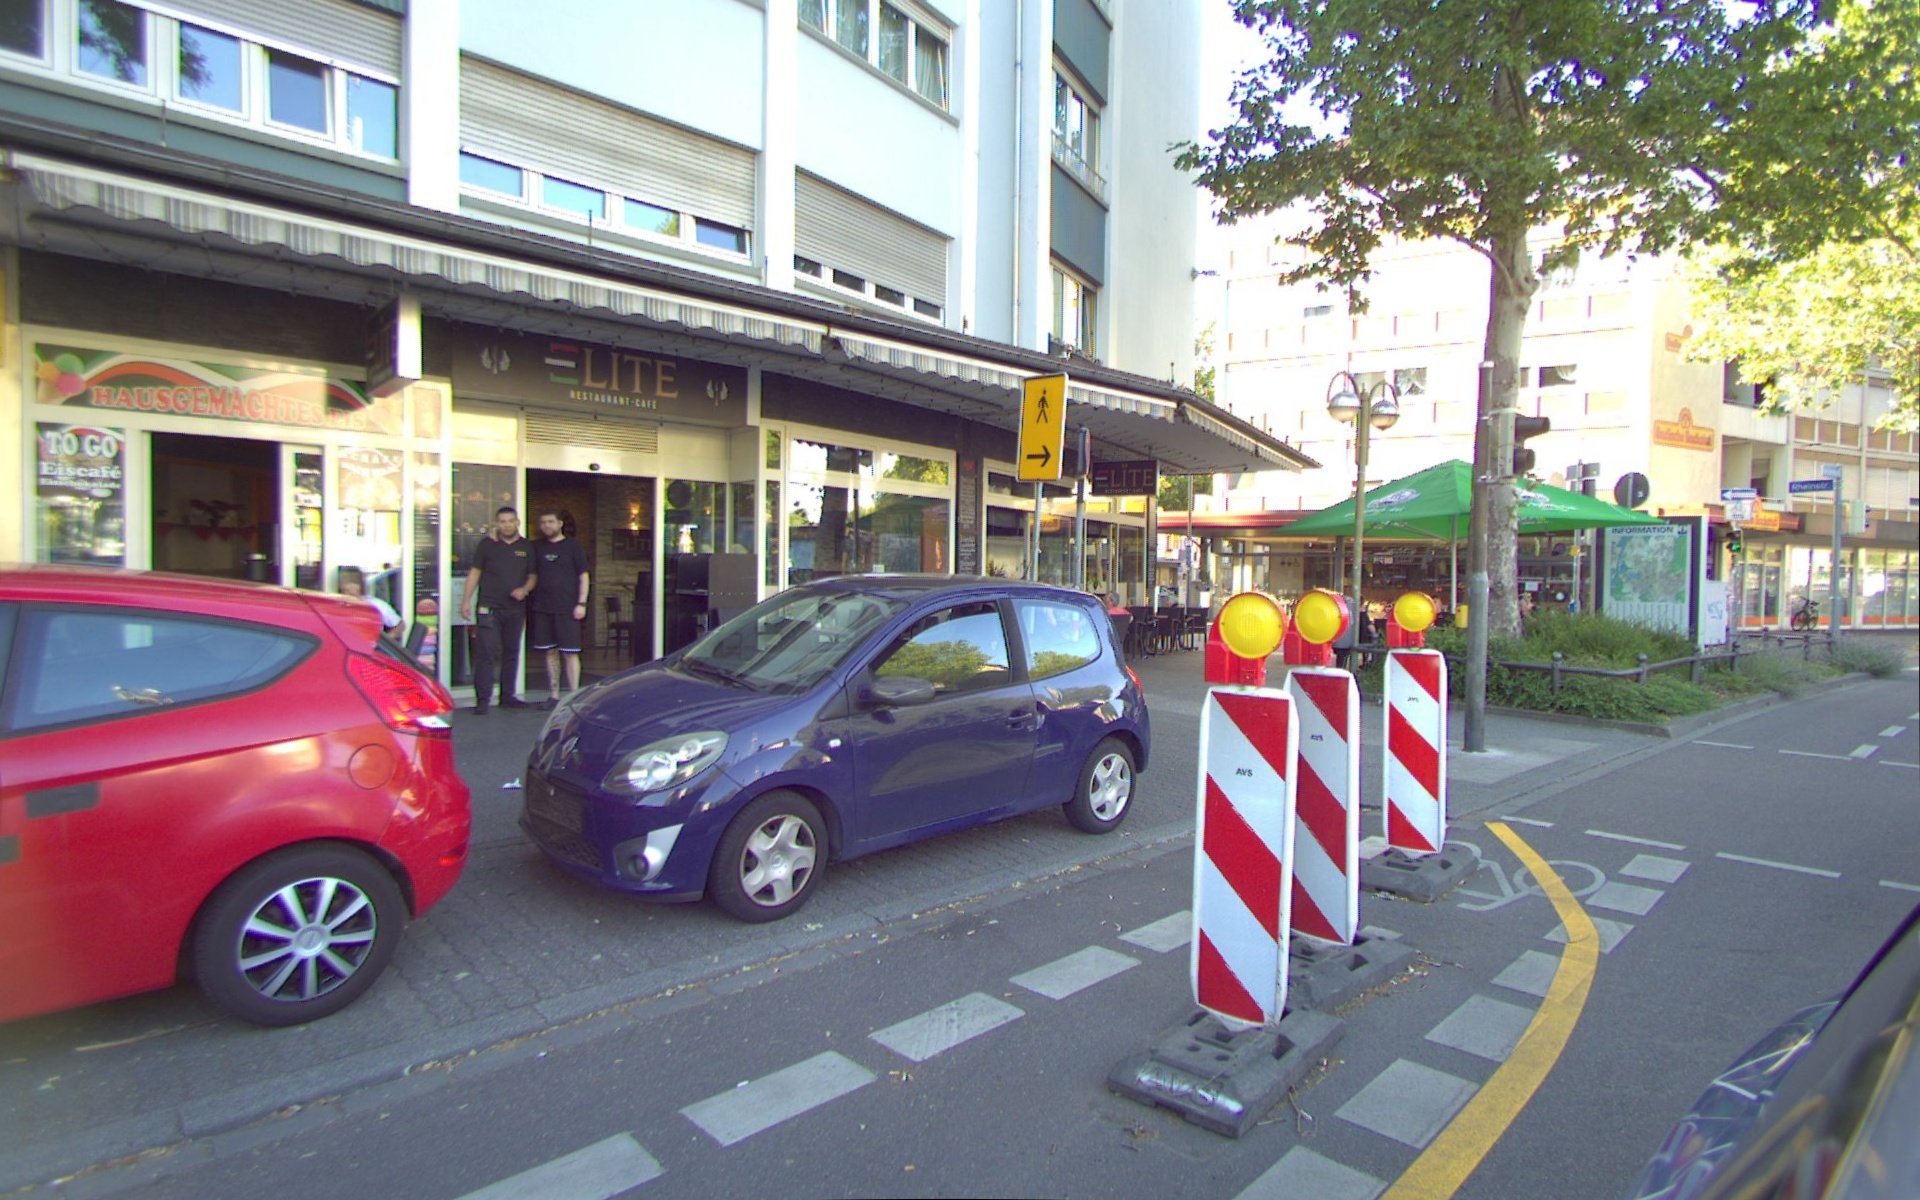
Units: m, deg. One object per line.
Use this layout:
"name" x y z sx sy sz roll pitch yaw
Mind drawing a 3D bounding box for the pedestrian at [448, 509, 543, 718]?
"pedestrian" -4.105 0.098 8.928 0.587 1.756 0.589 1 3 -39

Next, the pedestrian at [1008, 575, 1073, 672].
"pedestrian" 1.108 0.305 13.850 0.644 1.267 0.711 3 1 25

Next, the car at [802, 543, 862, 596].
"car" -4.522 -1.089 36.267 1.960 1.771 4.004 1 1 -4

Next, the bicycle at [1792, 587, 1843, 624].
"bicycle" 28.253 0.177 33.335 1.933 1.157 0.530 0 1 -26

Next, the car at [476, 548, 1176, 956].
"car" -0.532 0.529 5.597 3.545 1.484 1.621 -1 4 -44

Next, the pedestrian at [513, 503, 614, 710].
"pedestrian" -3.573 0.041 9.108 0.635 1.780 0.612 1 3 -39

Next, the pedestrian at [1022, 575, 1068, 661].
"pedestrian" 1.282 0.263 15.376 0.541 1.259 0.521 2 1 -7

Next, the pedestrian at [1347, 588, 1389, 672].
"pedestrian" 6.063 0.438 15.058 0.460 1.235 0.432 1 0 5

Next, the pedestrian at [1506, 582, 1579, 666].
"pedestrian" 9.386 0.365 16.317 0.753 1.301 0.721 0 1 -28

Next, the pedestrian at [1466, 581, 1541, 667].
"pedestrian" 8.535 0.357 15.915 0.752 1.301 0.721 0 1 -27

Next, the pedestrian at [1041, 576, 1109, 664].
"pedestrian" 1.703 0.287 15.015 0.664 1.233 0.706 3 1 43

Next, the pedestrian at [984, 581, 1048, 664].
"pedestrian" 0.819 0.310 14.755 0.710 1.144 0.645 3 1 25

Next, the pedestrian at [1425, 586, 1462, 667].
"pedestrian" 7.572 0.404 15.865 0.427 1.234 0.465 3 2 20

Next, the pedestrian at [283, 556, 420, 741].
"pedestrian" -4.711 0.319 7.814 0.765 1.247 1.207 -1 5 -38

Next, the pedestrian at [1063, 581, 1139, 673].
"pedestrian" 1.972 0.357 14.125 0.838 1.213 0.644 3 1 27

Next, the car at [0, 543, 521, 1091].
"car" -3.534 0.565 2.953 1.668 1.446 3.786 5 4 44
